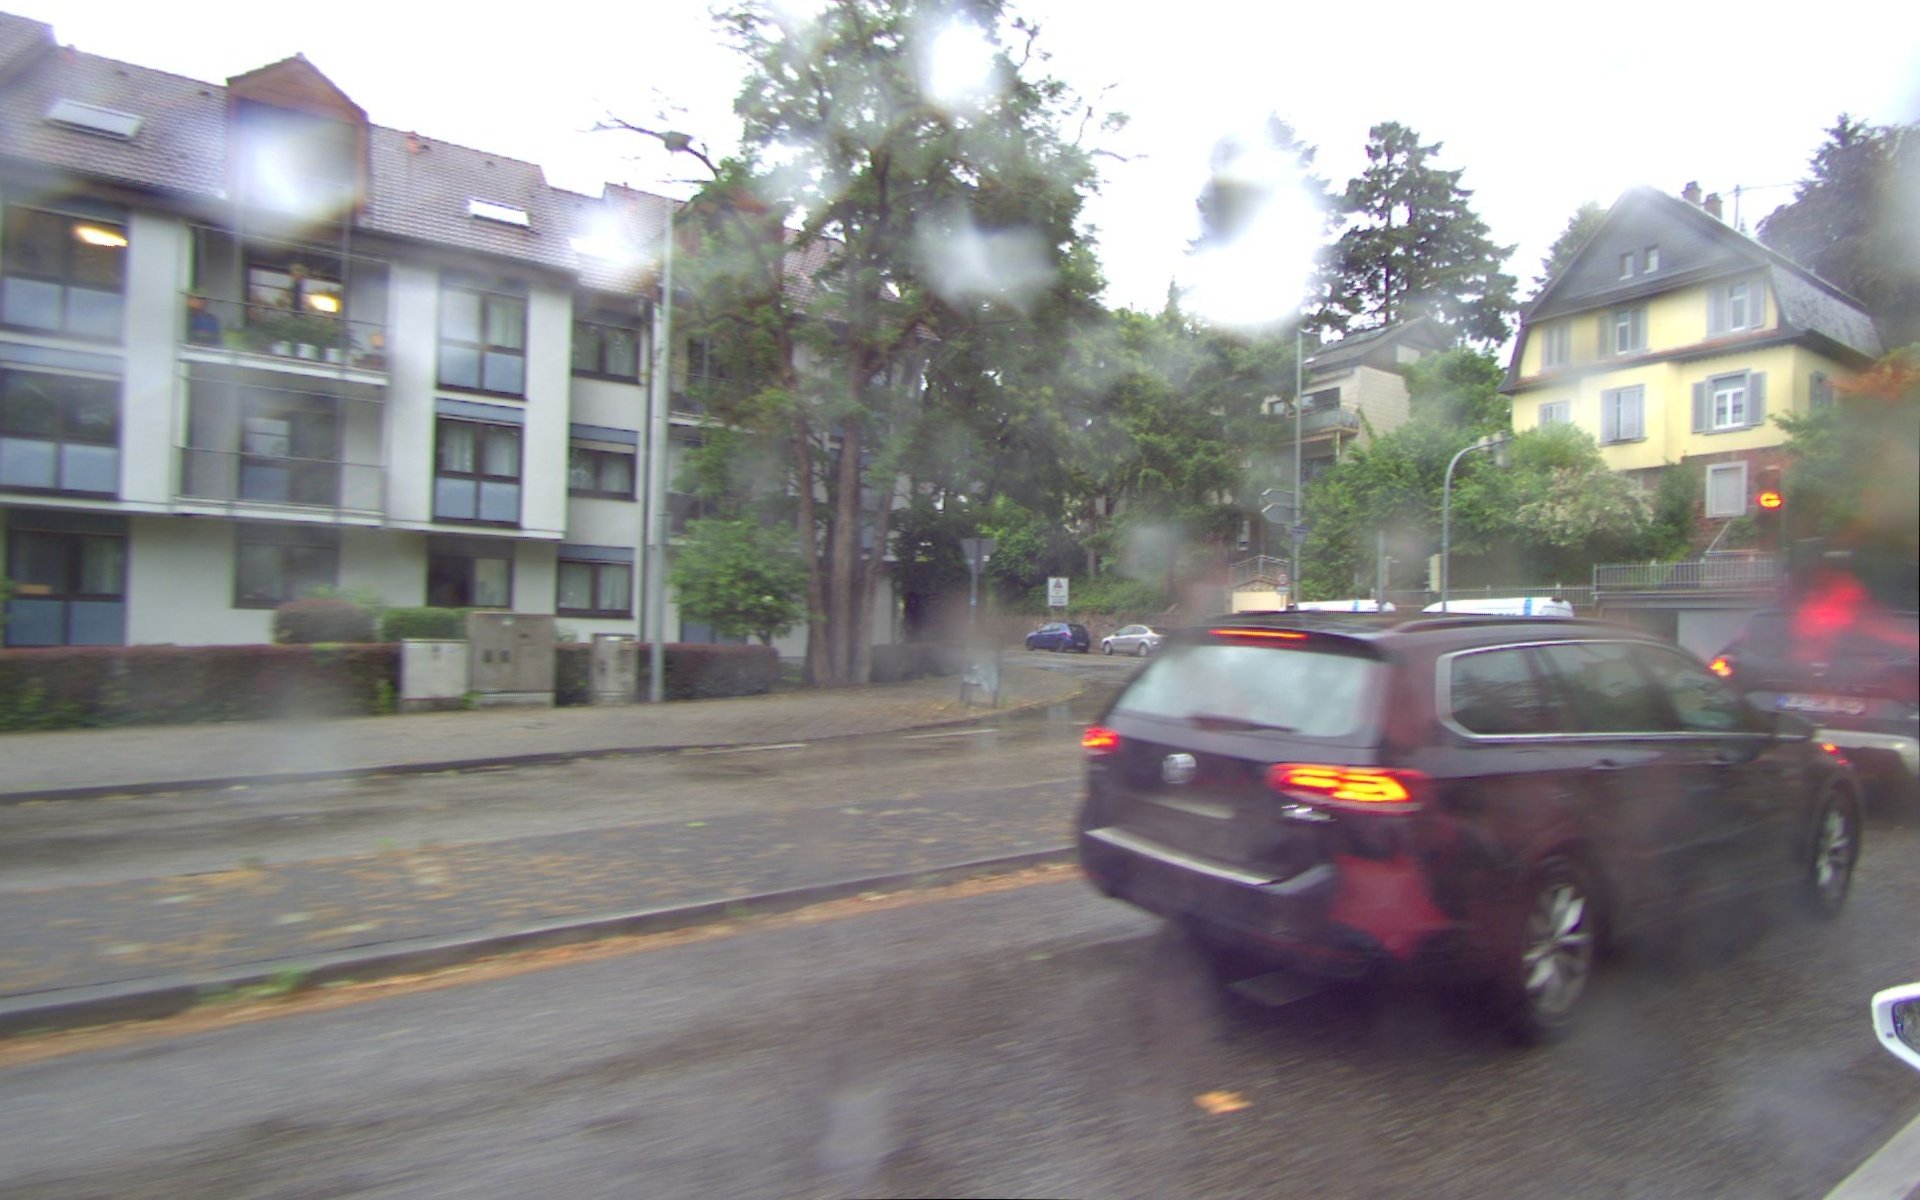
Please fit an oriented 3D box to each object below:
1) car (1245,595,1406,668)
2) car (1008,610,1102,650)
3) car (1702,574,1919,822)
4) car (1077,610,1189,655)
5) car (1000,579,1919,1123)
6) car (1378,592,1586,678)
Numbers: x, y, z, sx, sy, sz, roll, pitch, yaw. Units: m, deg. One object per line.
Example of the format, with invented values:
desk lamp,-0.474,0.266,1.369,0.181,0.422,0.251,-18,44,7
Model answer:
car,13.723,1.148,38.105,2.289,2.527,5.535,3,-1,-30
car,4.971,1.570,53.353,2.086,1.878,5.535,3,-1,-30
car,8.147,0.694,8.838,4.567,1.734,1.744,0,1,-42
car,8.099,1.496,47.591,2.086,1.878,5.535,3,-1,-30
car,2.598,0.695,4.800,4.608,1.476,1.821,0,2,-33
car,16.825,1.072,32.740,2.289,2.527,5.632,3,-1,-30
